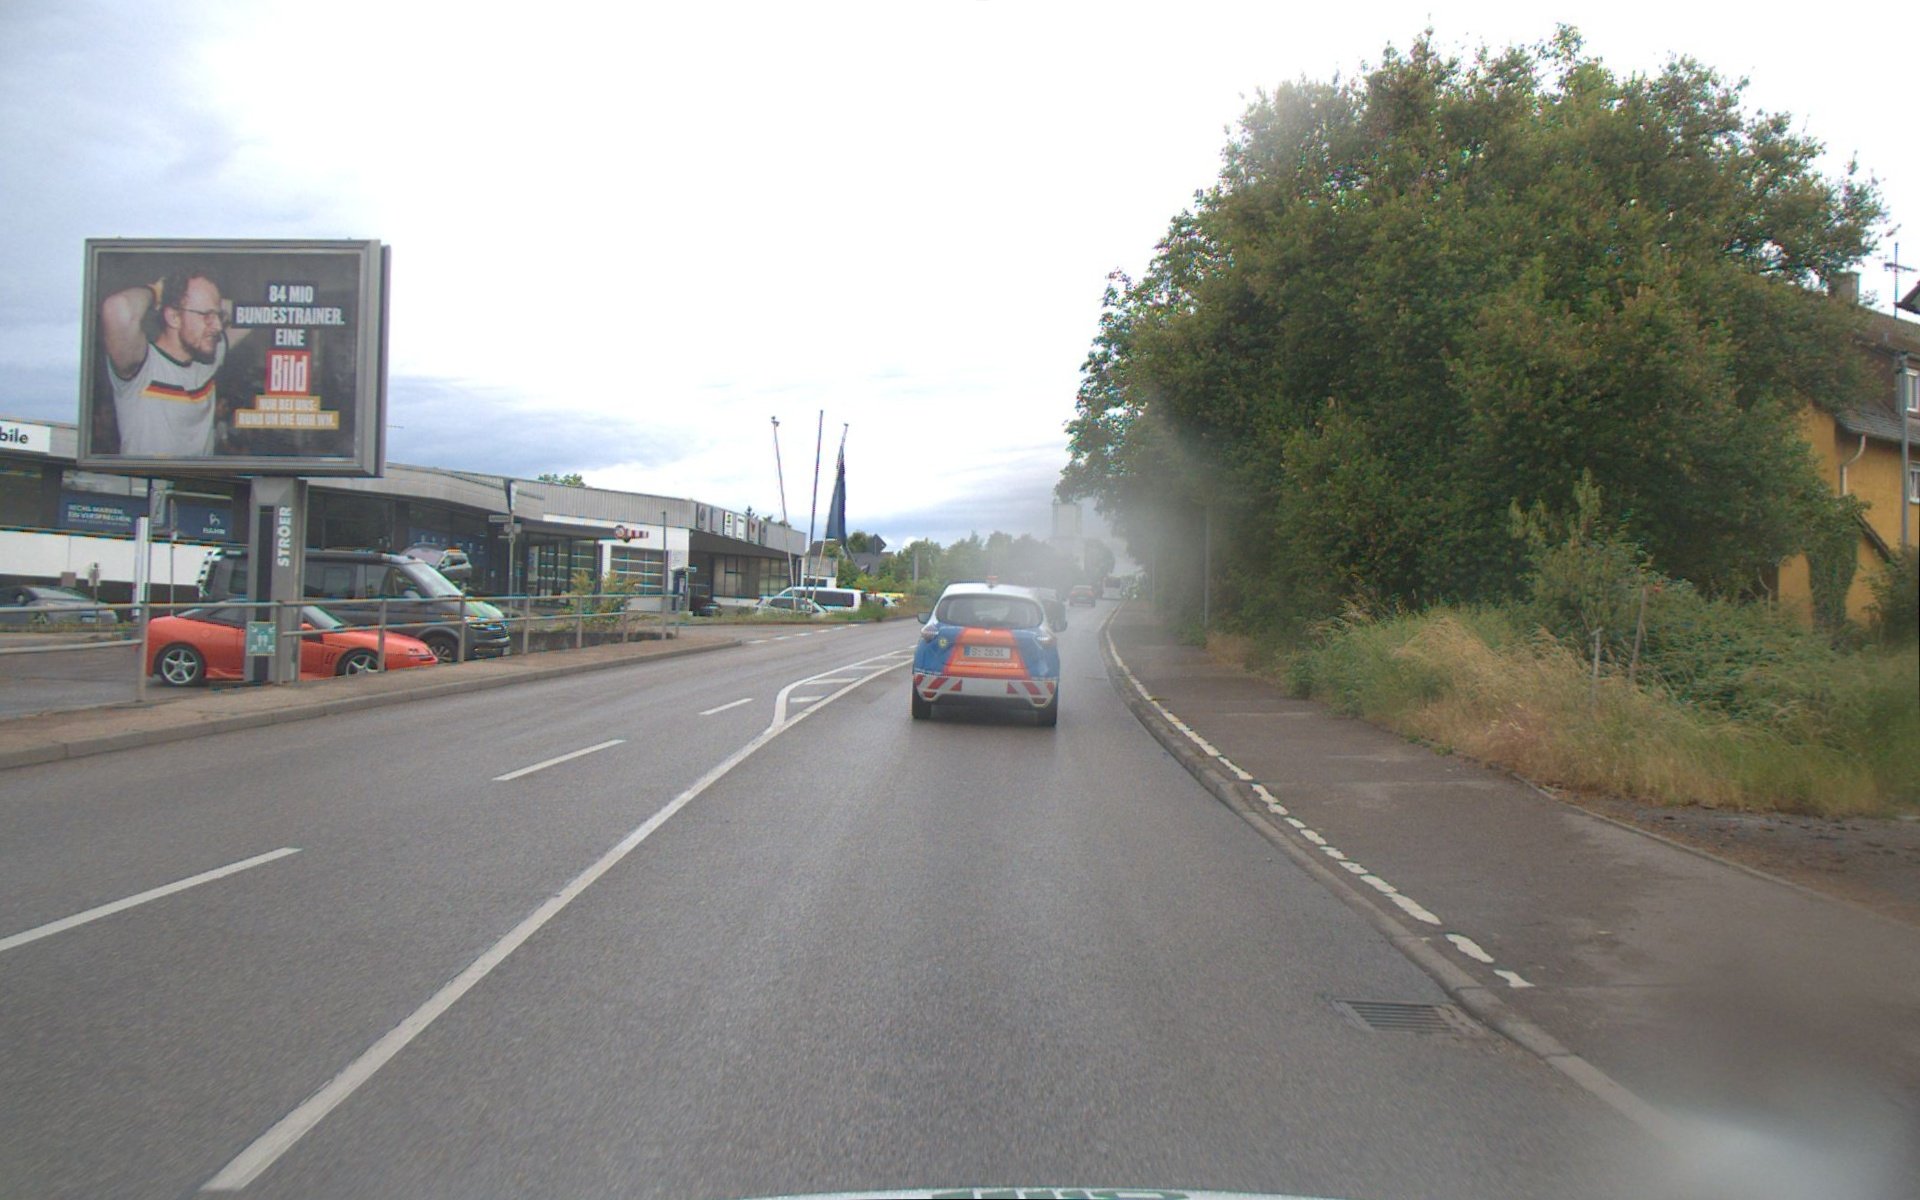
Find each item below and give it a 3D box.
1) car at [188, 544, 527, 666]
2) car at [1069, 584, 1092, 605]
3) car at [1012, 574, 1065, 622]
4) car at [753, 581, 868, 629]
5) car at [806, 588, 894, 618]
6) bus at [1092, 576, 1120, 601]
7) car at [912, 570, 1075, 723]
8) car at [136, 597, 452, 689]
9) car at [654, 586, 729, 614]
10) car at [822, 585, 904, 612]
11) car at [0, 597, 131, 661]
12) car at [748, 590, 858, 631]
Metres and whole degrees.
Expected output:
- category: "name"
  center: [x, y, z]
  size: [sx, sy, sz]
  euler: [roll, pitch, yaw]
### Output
- category: "car"
  center: [-9.985, 0.086, 27.703]
  size: [4.966, 1.903, 1.822]
  euler: [1, 0, -3]
- category: "car"
  center: [8.347, -0.351, 114.799]
  size: [1.580, 1.432, 3.499]
  euler: [1, 0, 3]
- category: "car"
  center: [2.751, -0.056, 58.621]
  size: [1.765, 1.618, 3.563]
  euler: [1, 0, 1]
- category: "car"
  center: [-5.966, 0.186, 66.380]
  size: [4.319, 1.829, 1.935]
  euler: [1, 1, 4]
- category: "car"
  center: [-5.442, 0.138, 82.312]
  size: [4.138, 1.392, 1.875]
  euler: [1, 1, 2]
- category: "bus"
  center: [19.724, -1.579, 223.857]
  size: [2.850, 3.225, 11.467]
  euler: [0, 0, 1]
- category: "car"
  center: [0.488, 0.530, 19.965]
  size: [1.622, 1.621, 3.570]
  euler: [2, -1, 6]
- category: "car"
  center: [-9.838, 0.622, 24.703]
  size: [4.014, 1.290, 1.767]
  euler: [1, 0, -8]
- category: "car"
  center: [-14.664, -0.028, 90.137]
  size: [3.947, 1.440, 1.943]
  euler: [1, 1, 40]
- category: "car"
  center: [-4.961, -0.096, 84.987]
  size: [3.978, 1.313, 1.805]
  euler: [1, 1, 2]
- category: "car"
  center: [-22.898, 0.702, 41.485]
  size: [4.017, 1.453, 1.885]
  euler: [1, 0, 31]
- category: "car"
  center: [-6.045, 0.395, 63.884]
  size: [3.924, 1.504, 1.825]
  euler: [1, 1, 4]
